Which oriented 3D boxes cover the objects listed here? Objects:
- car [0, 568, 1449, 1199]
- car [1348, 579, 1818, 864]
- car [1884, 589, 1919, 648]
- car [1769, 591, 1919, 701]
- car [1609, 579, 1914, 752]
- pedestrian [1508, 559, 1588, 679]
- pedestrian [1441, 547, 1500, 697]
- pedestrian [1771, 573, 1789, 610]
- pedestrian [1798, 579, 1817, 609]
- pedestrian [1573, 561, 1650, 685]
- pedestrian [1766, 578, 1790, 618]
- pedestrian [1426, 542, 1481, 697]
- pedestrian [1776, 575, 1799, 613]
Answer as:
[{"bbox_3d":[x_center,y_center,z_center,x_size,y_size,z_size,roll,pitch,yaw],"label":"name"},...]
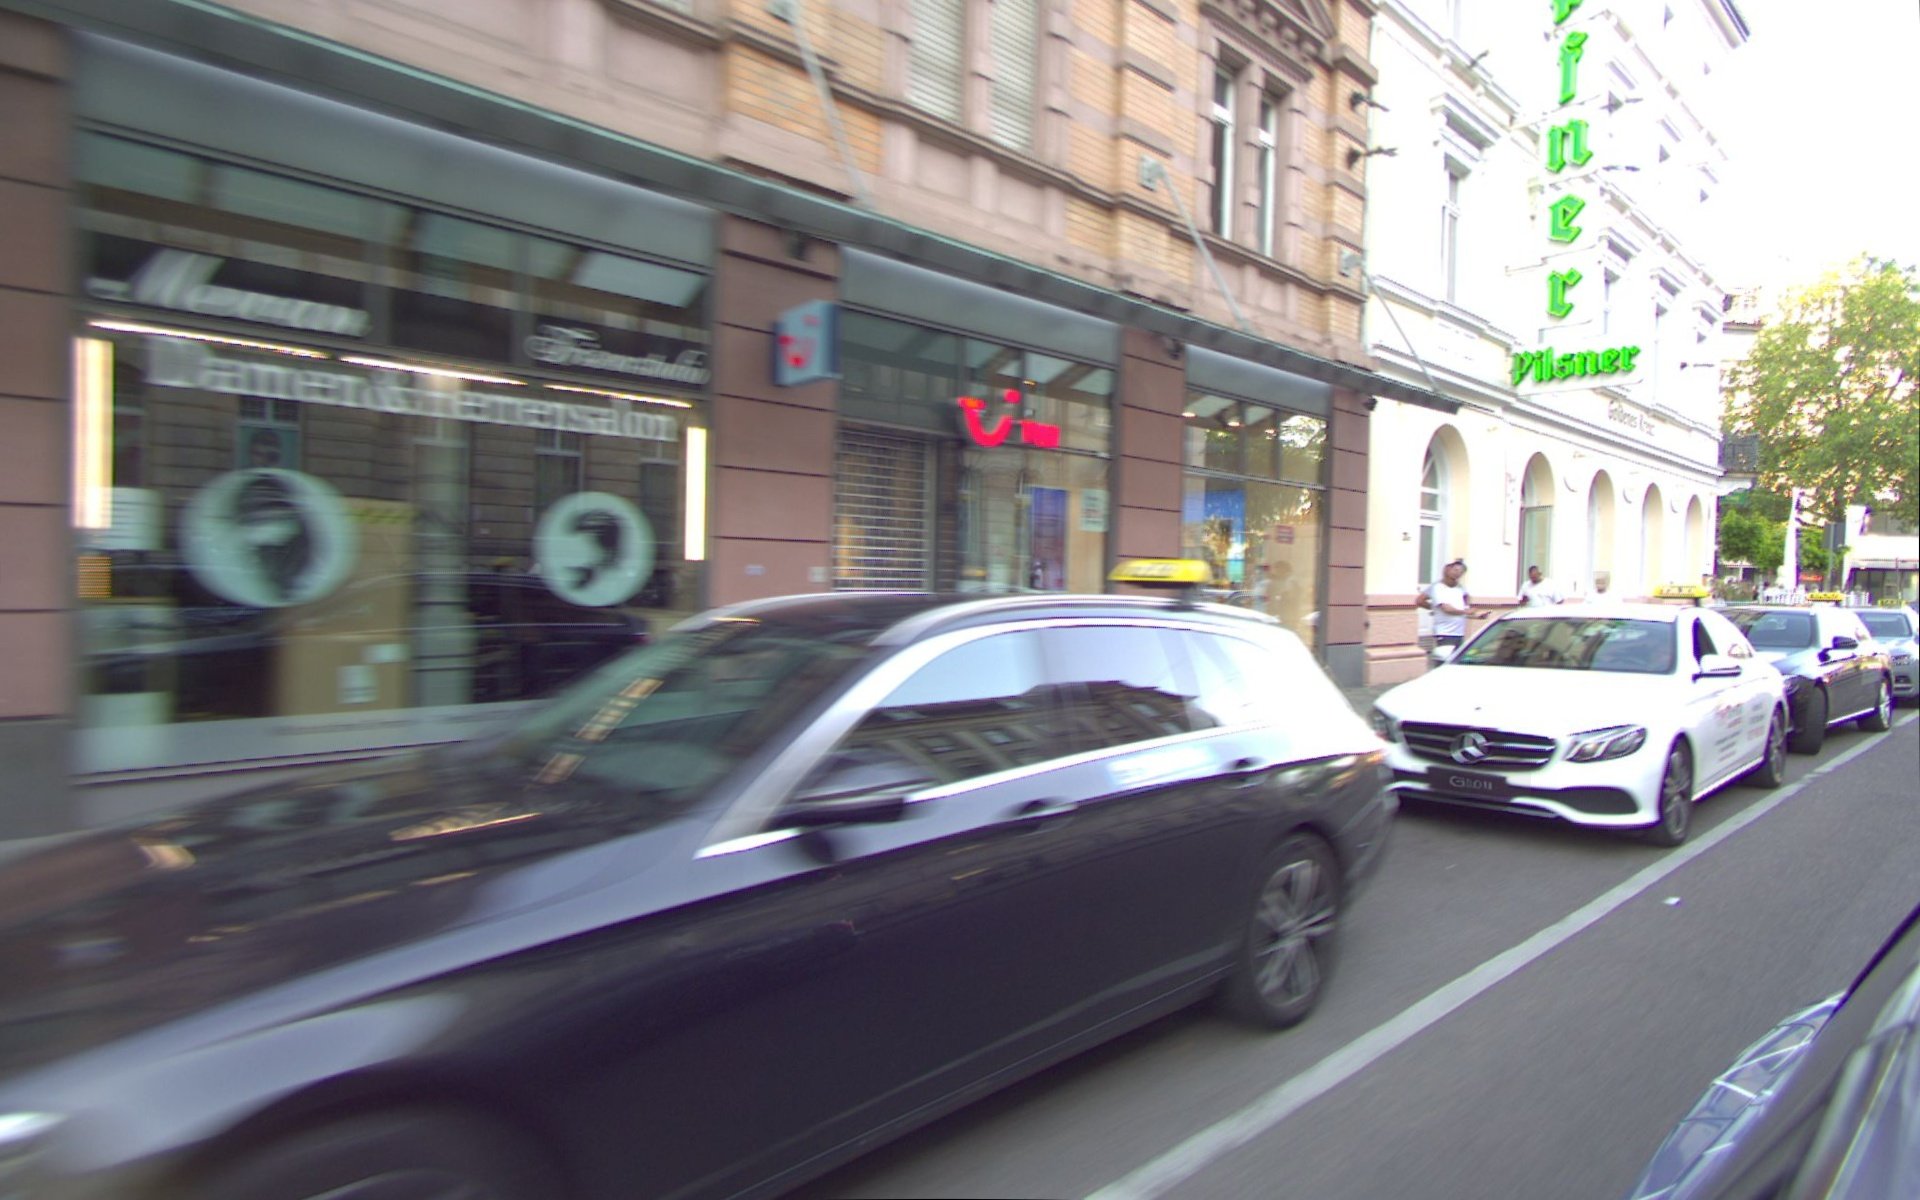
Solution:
[{"bbox_3d":[-0.320,0.678,3.240,4.737,1.495,1.729,-1,1,-42],"label":"car"},{"bbox_3d":[4.954,0.633,7.697,4.781,1.530,1.735,-1,0,-42],"label":"car"},{"bbox_3d":[25.406,0.473,26.198,4.469,1.407,1.700,-1,4,-42],"label":"car"},{"bbox_3d":[14.423,0.612,16.001,4.612,1.494,1.809,-1,1,-42],"label":"car"},{"bbox_3d":[9.182,0.590,11.465,4.361,1.610,1.737,-1,0,-38],"label":"car"},{"bbox_3d":[8.879,0.264,15.290,0.542,1.709,0.761,0,5,-41],"label":"pedestrian"},{"bbox_3d":[6.281,0.259,12.456,0.653,1.789,0.373,0,3,-45],"label":"pedestrian"},{"bbox_3d":[34.778,-0.368,42.932,0.523,1.578,0.490,1,1,-41],"label":"pedestrian"},{"bbox_3d":[37.236,-0.251,44.458,0.482,1.313,0.531,1,1,-41],"label":"pedestrian"},{"bbox_3d":[9.366,0.324,14.555,0.476,1.709,0.623,2,4,-24],"label":"pedestrian"},{"bbox_3d":[26.977,-0.060,33.378,0.482,1.312,0.531,1,1,-41],"label":"pedestrian"},{"bbox_3d":[5.880,0.221,12.059,0.448,1.789,0.373,0,3,-45],"label":"pedestrian"},{"bbox_3d":[28.524,-0.209,34.893,0.528,1.312,0.485,1,1,34],"label":"pedestrian"}]
